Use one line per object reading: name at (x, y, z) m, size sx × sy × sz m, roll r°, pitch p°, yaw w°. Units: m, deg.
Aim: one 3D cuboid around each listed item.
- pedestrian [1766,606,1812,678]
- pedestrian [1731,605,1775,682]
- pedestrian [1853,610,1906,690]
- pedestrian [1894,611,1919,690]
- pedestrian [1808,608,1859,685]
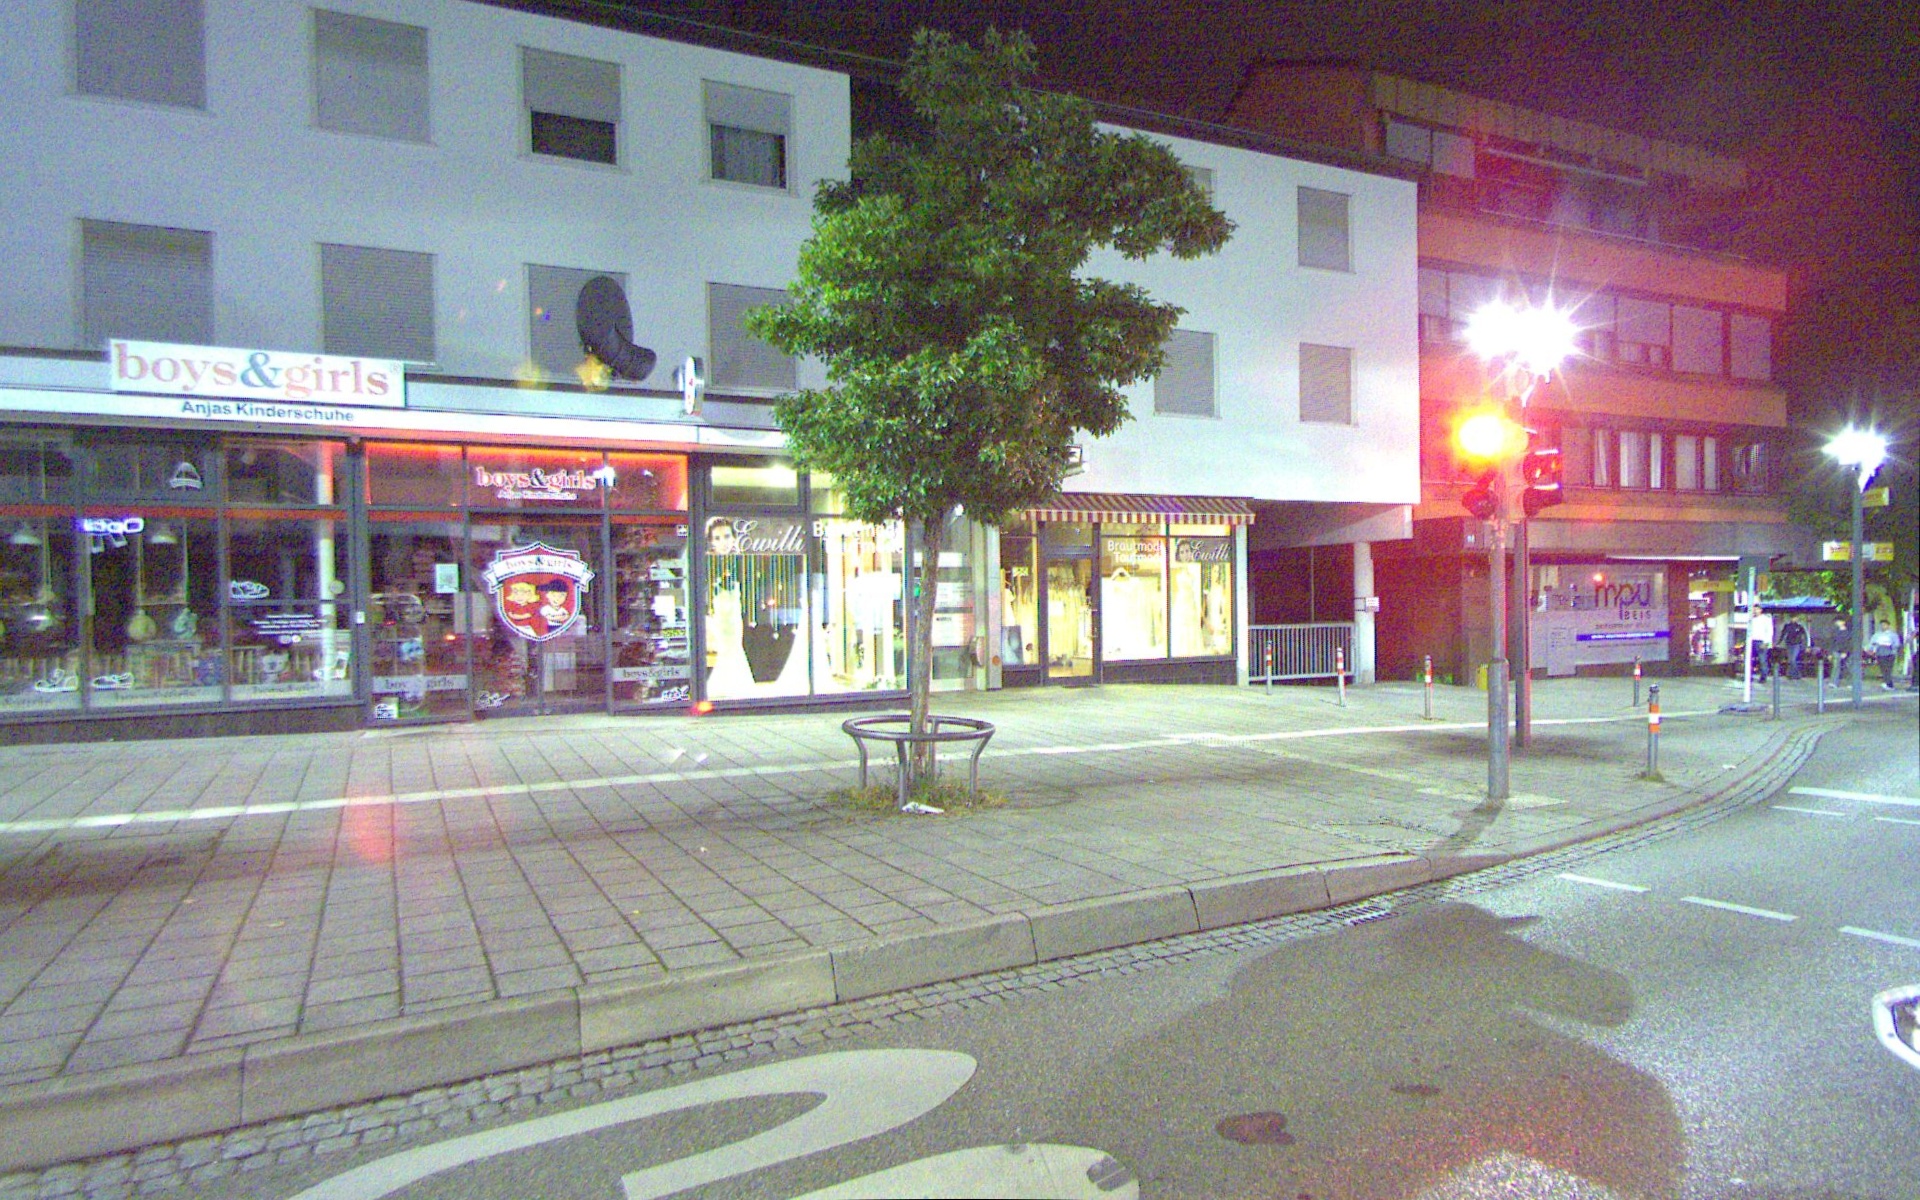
pedestrian at (21.429, 1.077, 25.972) m, size 0.561 × 1.819 × 0.714 m, roll 3°, pitch -1°, yaw -23°
pedestrian at (19.300, 1.050, 24.443) m, size 0.565 × 1.819 × 0.709 m, roll 3°, pitch -1°, yaw -41°
pedestrian at (21.484, 1.154, 23.466) m, size 0.561 × 1.819 × 0.714 m, roll 3°, pitch -1°, yaw -23°
pedestrian at (22.360, 1.180, 23.288) m, size 0.723 × 1.819 × 0.717 m, roll 2°, pitch -1°, yaw -8°
pedestrian at (20.918, 1.104, 24.050) m, size 0.561 × 1.819 × 0.714 m, roll 3°, pitch -1°, yaw -23°
